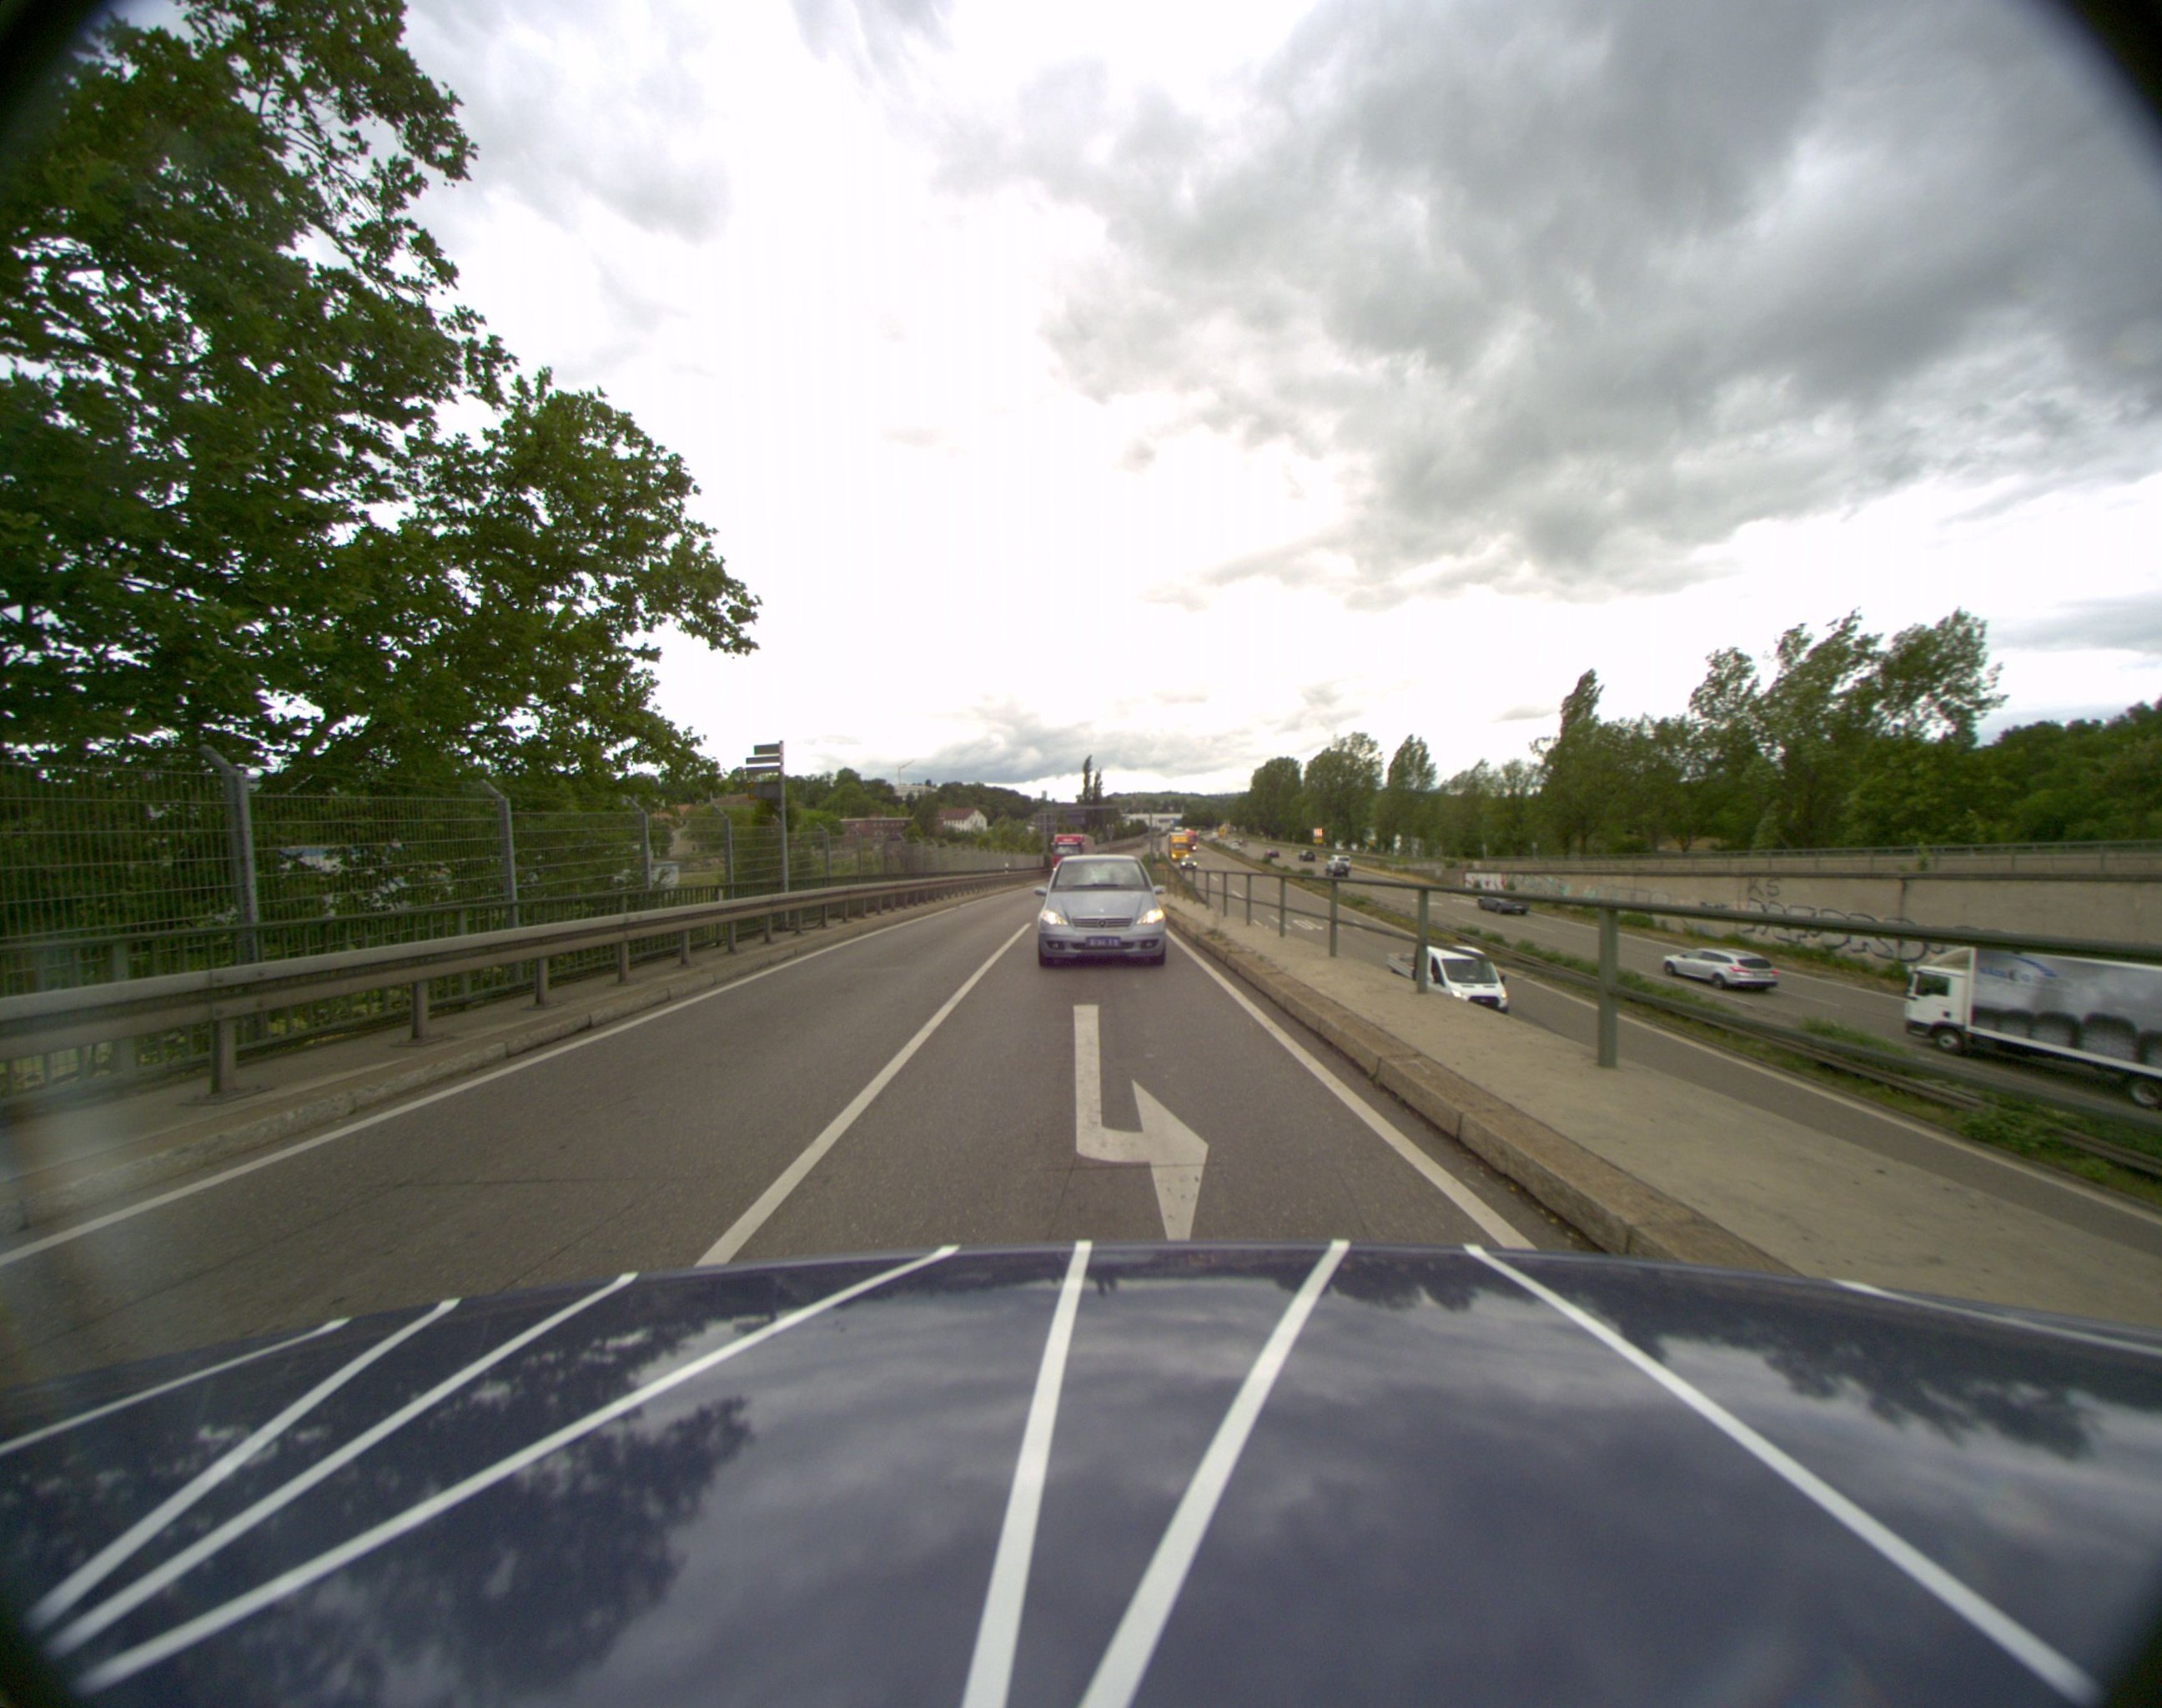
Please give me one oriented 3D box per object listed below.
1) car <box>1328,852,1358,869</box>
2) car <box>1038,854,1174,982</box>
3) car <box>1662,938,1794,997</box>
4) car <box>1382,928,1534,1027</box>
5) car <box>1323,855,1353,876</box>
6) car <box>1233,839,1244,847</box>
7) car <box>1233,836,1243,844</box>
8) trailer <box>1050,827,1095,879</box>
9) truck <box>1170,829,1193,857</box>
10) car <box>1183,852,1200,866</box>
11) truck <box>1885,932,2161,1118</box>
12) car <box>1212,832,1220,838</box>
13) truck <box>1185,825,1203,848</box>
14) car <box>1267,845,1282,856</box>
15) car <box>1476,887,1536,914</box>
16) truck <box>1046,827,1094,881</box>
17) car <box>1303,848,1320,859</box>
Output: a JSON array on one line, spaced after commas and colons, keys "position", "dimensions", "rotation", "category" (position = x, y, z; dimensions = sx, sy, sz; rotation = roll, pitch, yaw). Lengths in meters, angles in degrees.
[{"position": [34.082, 0.827, 99.024], "dimensions": [2.595, 2.003, 4.641], "rotation": [0, 3, 5], "category": "car"}, {"position": [0.379, 0.841, 11.834], "dimensions": [1.747, 1.594, 3.682], "rotation": [-2, 1, 2], "category": "car"}, {"position": [26.812, 4.653, 31.718], "dimensions": [1.998, 1.609, 4.329], "rotation": [1, 2, 4], "category": "car"}, {"position": [13.404, 4.295, 27.704], "dimensions": [2.351, 2.219, 6.552], "rotation": [0, 3, 1], "category": "car"}, {"position": [29.798, 1.317, 88.165], "dimensions": [2.223, 2.003, 4.639], "rotation": [0, 5, 5], "category": "car"}, {"position": [32.970, -2.270, 159.128], "dimensions": [1.997, 1.707, 3.640], "rotation": [1, 1, 6], "category": "car"}, {"position": [37.773, -3.388, 182.890], "dimensions": [1.997, 1.707, 3.640], "rotation": [1, 1, 5], "category": "car"}, {"position": [-0.588, -0.087, 71.670], "dimensions": [3.668, 4.296, 13.783], "rotation": [-2, 0, 2], "category": "trailer"}, {"position": [15.863, -1.864, 120.154], "dimensions": [2.900, 4.161, 10.023], "rotation": [1, 3, 4], "category": "truck"}, {"position": [14.396, 0.660, 99.104], "dimensions": [1.878, 1.688, 3.840], "rotation": [0, 2, 5], "category": "car"}, {"position": [26.892, 4.339, 19.526], "dimensions": [3.592, 3.437, 8.237], "rotation": [1, 3, 1], "category": "truck"}, {"position": [39.099, -5.542, 219.940], "dimensions": [1.998, 1.707, 3.640], "rotation": [1, 1, 4], "category": "car"}, {"position": [22.382, -3.621, 151.143], "dimensions": [2.887, 4.333, 13.257], "rotation": [0, 3, 6], "category": "truck"}, {"position": [32.762, -0.619, 128.565], "dimensions": [1.997, 1.707, 3.640], "rotation": [1, 1, 6], "category": "car"}, {"position": [30.969, 3.341, 55.488], "dimensions": [1.998, 1.609, 4.328], "rotation": [0, 2, 1], "category": "car"}, {"position": [-0.824, -0.040, 65.652], "dimensions": [3.668, 4.296, 7.236], "rotation": [-2, 0, 1], "category": "truck"}, {"position": [35.684, -0.085, 117.648], "dimensions": [1.997, 1.758, 3.484], "rotation": [0, 0, 6], "category": "car"}]
